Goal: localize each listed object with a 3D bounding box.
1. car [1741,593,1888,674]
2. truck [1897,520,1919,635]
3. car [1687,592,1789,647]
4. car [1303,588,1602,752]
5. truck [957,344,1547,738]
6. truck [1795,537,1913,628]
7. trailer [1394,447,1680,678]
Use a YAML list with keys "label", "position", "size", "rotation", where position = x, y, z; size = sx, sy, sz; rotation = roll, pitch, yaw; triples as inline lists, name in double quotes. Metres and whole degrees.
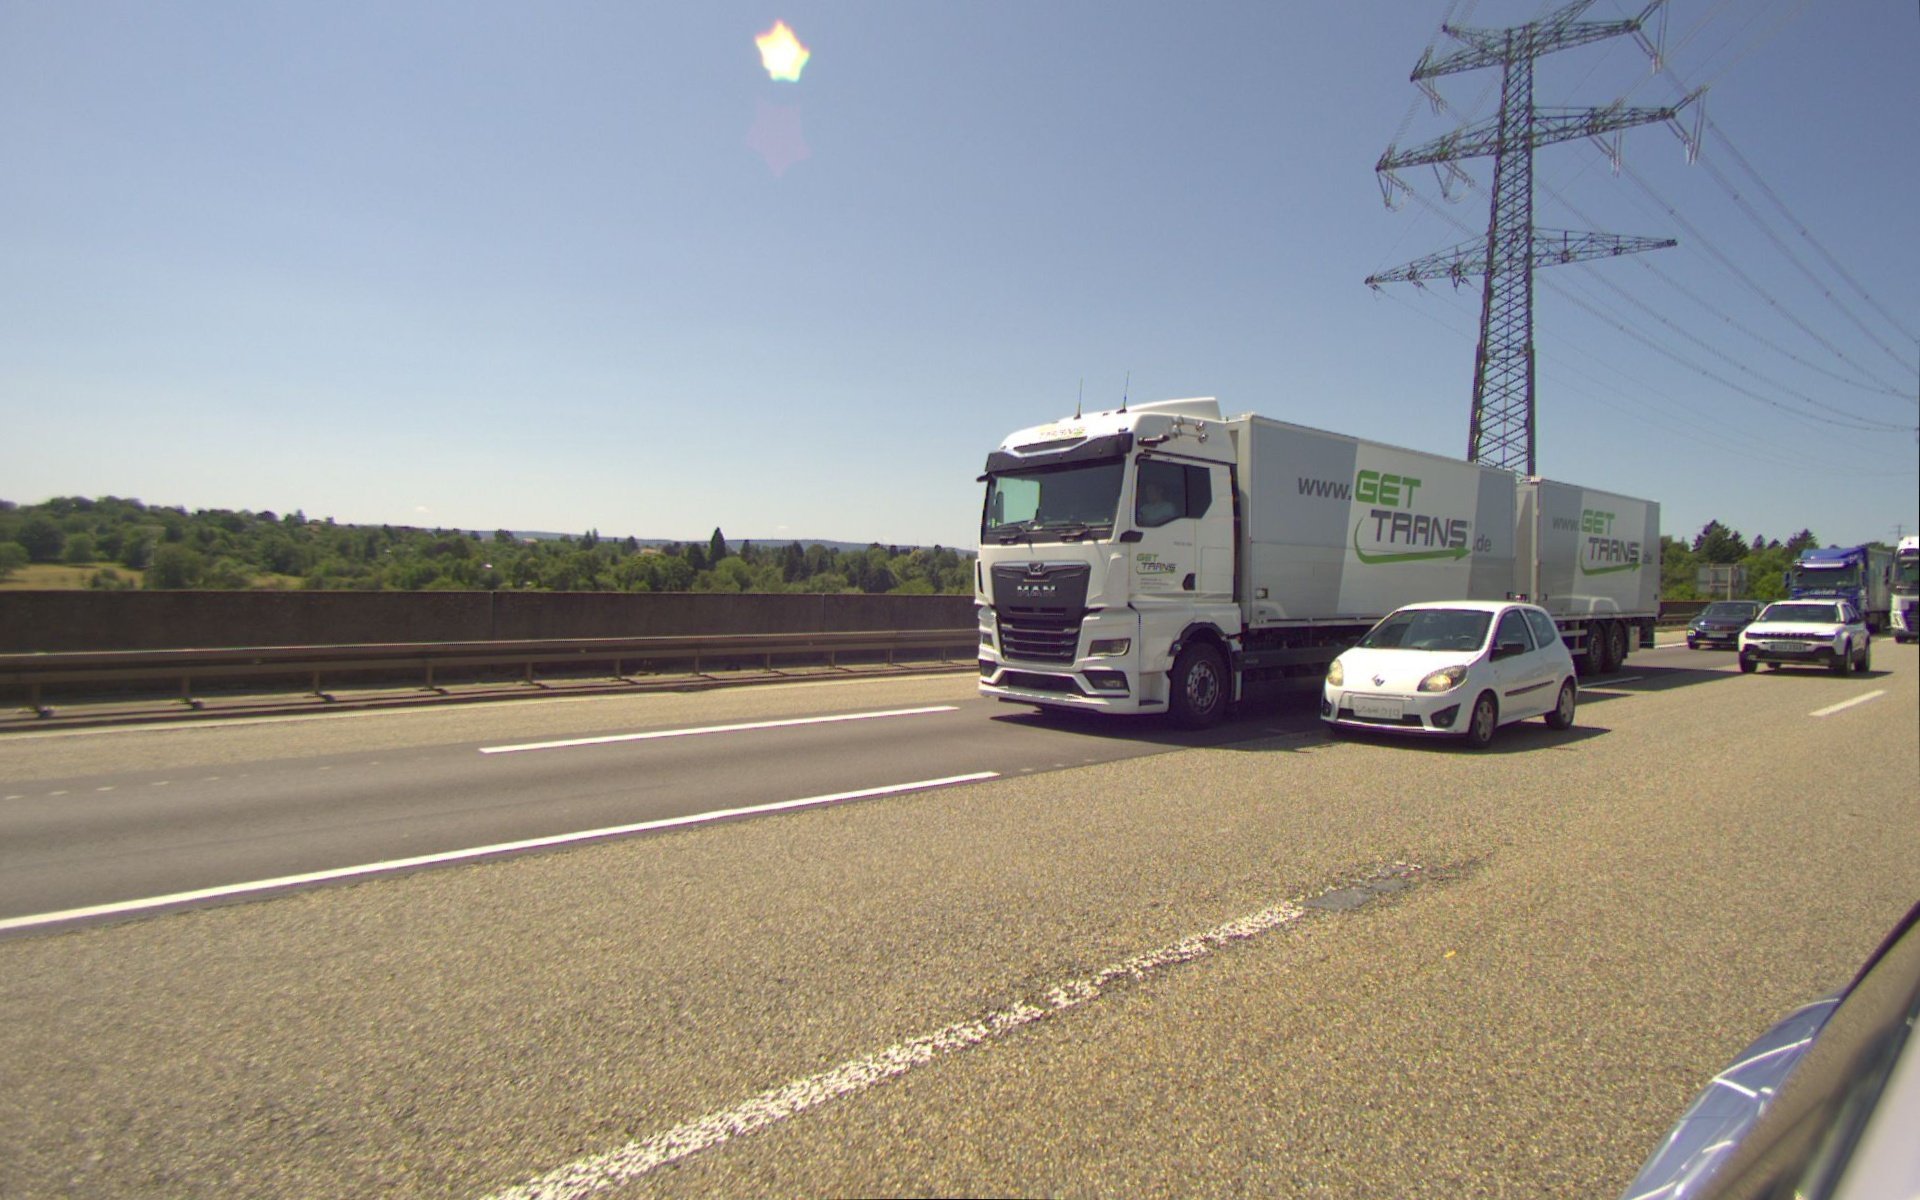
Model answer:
- label: "car"
  position: [18.192, 0.643, 21.489]
  size: [3.783, 1.549, 1.775]
  rotation: [0, 0, -40]
- label: "truck"
  position: [40.156, -0.750, 40.141]
  size: [14.002, 4.090, 2.716]
  rotation: [1, -1, -40]
- label: "car"
  position: [24.502, 0.562, 31.838]
  size: [3.930, 1.598, 1.819]
  rotation: [0, 0, -41]
- label: "car"
  position: [5.594, 0.646, 11.319]
  size: [3.758, 1.529, 1.658]
  rotation: [0, 0, -41]
- label: "truck"
  position: [5.036, -0.579, 14.864]
  size: [11.098, 3.980, 2.693]
  rotation: [0, -1, -41]
- label: "truck"
  position: [42.853, -0.776, 48.359]
  size: [11.078, 3.929, 2.838]
  rotation: [0, 0, -41]
- label: "trailer"
  position: [12.158, -0.635, 20.976]
  size: [7.636, 3.991, 2.750]
  rotation: [0, -1, -41]
